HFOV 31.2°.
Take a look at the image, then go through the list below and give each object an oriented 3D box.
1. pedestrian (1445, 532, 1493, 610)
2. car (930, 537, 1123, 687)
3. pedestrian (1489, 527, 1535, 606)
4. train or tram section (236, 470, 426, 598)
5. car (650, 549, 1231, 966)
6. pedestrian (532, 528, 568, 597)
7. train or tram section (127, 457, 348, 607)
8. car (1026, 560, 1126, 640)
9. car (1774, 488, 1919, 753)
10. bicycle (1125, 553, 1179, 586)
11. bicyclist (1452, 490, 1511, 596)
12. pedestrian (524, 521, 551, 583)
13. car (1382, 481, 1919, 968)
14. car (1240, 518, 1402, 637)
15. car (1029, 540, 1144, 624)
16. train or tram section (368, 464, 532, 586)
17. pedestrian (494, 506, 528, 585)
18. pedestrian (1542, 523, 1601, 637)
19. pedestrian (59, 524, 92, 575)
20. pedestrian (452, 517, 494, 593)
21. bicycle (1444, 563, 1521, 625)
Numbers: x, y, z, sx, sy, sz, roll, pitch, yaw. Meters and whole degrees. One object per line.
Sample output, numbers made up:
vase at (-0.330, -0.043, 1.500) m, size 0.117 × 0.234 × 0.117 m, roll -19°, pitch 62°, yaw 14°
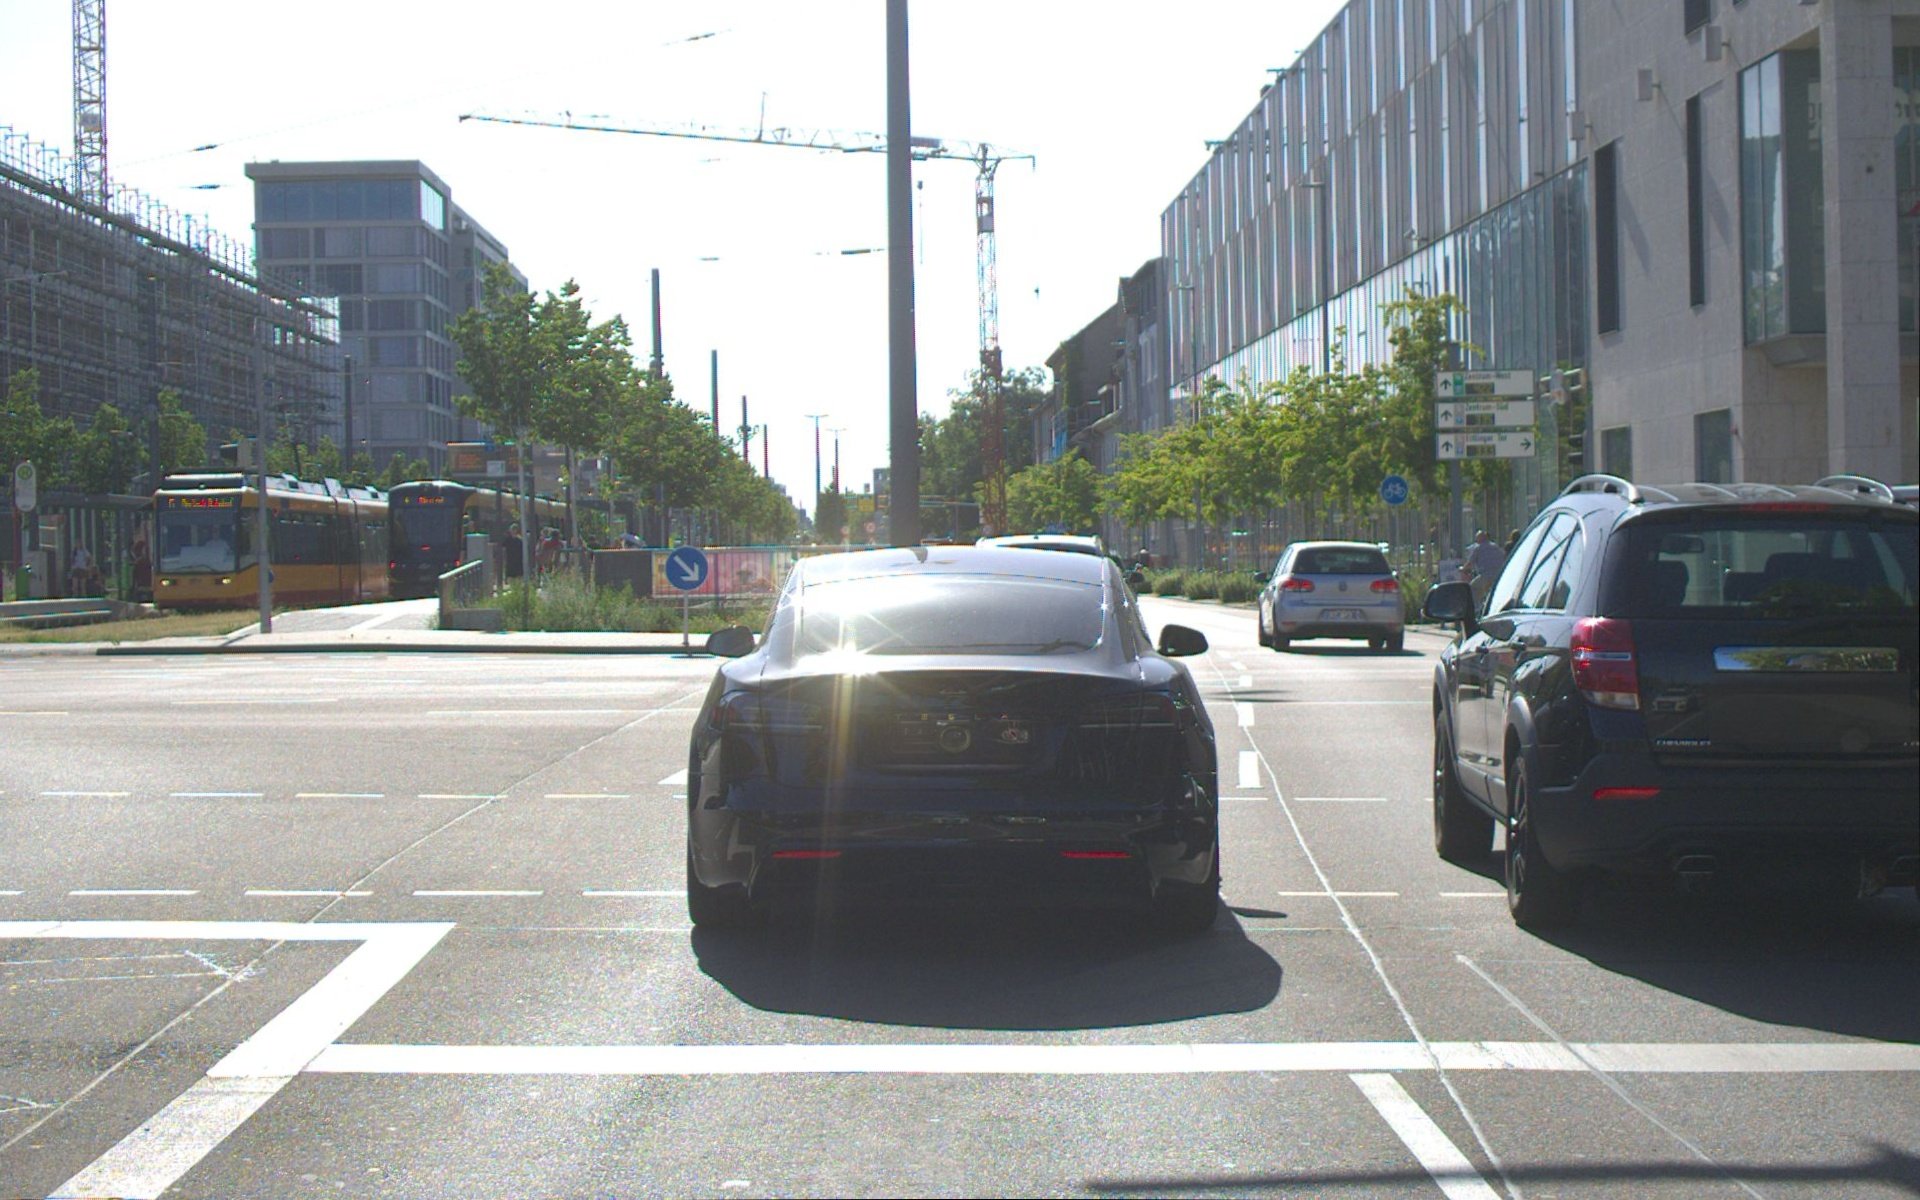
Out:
pedestrian at (11.010, -0.633, 74.389) m, size 0.821 × 1.652 × 0.900 m, roll -1°, pitch 1°, yaw -5°
car at (0.578, 0.070, 32.828) m, size 1.716 × 1.315 × 4.000 m, roll 0°, pitch 1°, yaw -1°
pedestrian at (11.914, -0.726, 74.258) m, size 0.706 × 1.652 × 0.900 m, roll -3°, pitch 1°, yaw -5°
train or tram section at (-17.680, -1.882, 97.800) m, size 2.847 × 3.310 × 15.968 m, roll 1°, pitch 1°, yaw -1°
car at (-0.074, 0.509, 14.040) m, size 1.999 × 1.429 × 4.413 m, roll 0°, pitch 1°, yaw 0°
pedestrian at (-9.745, -0.896, 81.675) m, size 0.741 × 1.623 × 0.861 m, roll -1°, pitch 1°, yaw 0°
train or tram section at (-17.291, -1.623, 83.278) m, size 2.870 × 3.298 × 13.074 m, roll 1°, pitch 1°, yaw -2°
car at (2.183, -0.025, 65.590) m, size 1.716 × 1.427 × 4.000 m, roll 0°, pitch 1°, yaw -1°
car at (7.530, 0.089, 24.038) m, size 1.789 × 1.728 × 4.153 m, roll 1°, pitch 2°, yaw 42°
bicycle at (7.305, -1.166, 130.789) m, size 1.881 × 1.147 × 0.672 m, roll -3°, pitch 1°, yaw -11°
bicyclist at (8.673, -0.948, 57.238) m, size 0.724 × 1.731 × 0.998 m, roll -1°, pitch 1°, yaw -5°
pedestrian at (-12.347, -1.406, 100.454) m, size 0.671 × 1.804 × 1.075 m, roll -1°, pitch 1°, yaw -2°
car at (2.920, 0.386, 14.215) m, size 1.784 × 1.693 × 4.413 m, roll 0°, pitch 1°, yaw 0°
car at (4.902, -0.335, 47.136) m, size 1.784 × 1.540 × 4.039 m, roll 0°, pitch 1°, yaw 0°
car at (2.069, -0.325, 57.304) m, size 1.716 × 1.315 × 4.000 m, roll 0°, pitch 1°, yaw -1°
train or tram section at (-14.716, -2.144, 100.376) m, size 2.870 × 3.268 × 15.186 m, roll 1°, pitch 1°, yaw -2°
pedestrian at (-10.180, -1.239, 77.956) m, size 0.703 × 1.769 × 0.959 m, roll 1°, pitch 1°, yaw -4°
pedestrian at (9.356, -0.306, 52.578) m, size 0.657 × 1.696 × 0.698 m, roll -3°, pitch 1°, yaw -3°
pedestrian at (-21.286, -1.222, 82.751) m, size 0.671 × 1.222 × 0.506 m, roll 1°, pitch 0°, yaw -4°
pedestrian at (-11.466, -1.069, 80.940) m, size 0.874 × 1.769 × 1.189 m, roll 1°, pitch 1°, yaw -4°
bicycle at (8.685, -0.110, 57.248) m, size 0.728 × 0.980 × 2.334 m, roll -1°, pitch 1°, yaw -5°
